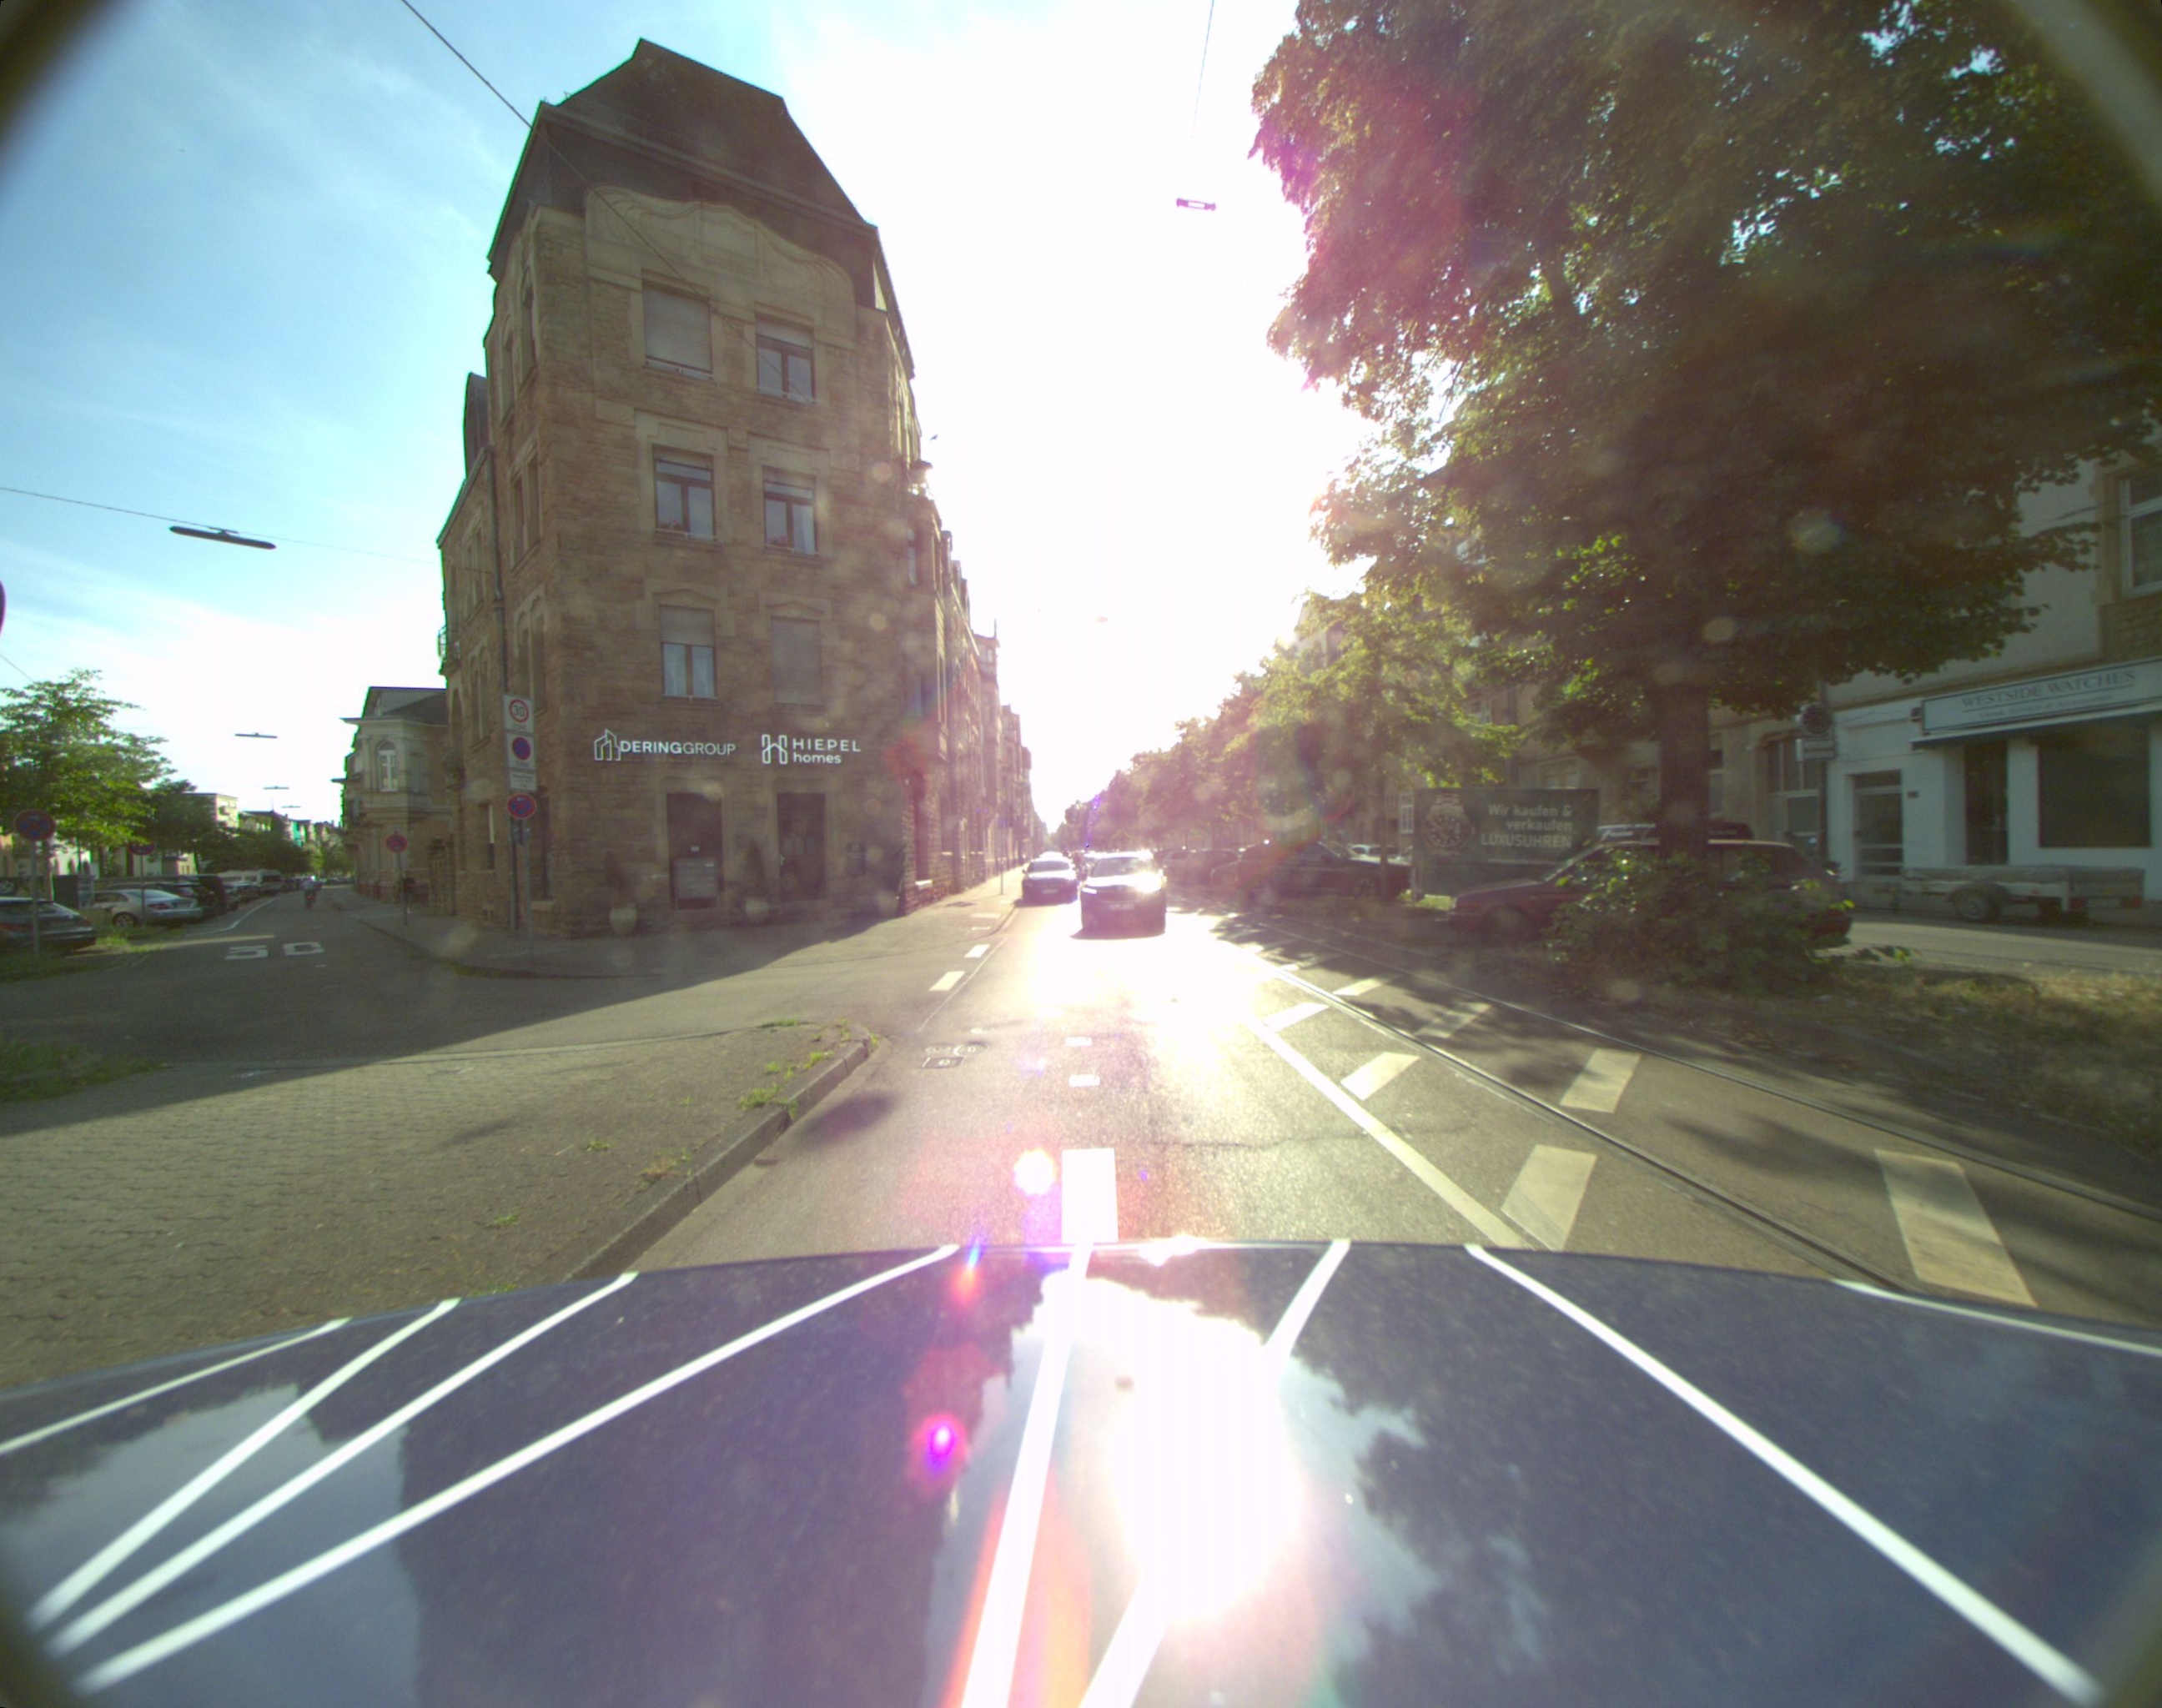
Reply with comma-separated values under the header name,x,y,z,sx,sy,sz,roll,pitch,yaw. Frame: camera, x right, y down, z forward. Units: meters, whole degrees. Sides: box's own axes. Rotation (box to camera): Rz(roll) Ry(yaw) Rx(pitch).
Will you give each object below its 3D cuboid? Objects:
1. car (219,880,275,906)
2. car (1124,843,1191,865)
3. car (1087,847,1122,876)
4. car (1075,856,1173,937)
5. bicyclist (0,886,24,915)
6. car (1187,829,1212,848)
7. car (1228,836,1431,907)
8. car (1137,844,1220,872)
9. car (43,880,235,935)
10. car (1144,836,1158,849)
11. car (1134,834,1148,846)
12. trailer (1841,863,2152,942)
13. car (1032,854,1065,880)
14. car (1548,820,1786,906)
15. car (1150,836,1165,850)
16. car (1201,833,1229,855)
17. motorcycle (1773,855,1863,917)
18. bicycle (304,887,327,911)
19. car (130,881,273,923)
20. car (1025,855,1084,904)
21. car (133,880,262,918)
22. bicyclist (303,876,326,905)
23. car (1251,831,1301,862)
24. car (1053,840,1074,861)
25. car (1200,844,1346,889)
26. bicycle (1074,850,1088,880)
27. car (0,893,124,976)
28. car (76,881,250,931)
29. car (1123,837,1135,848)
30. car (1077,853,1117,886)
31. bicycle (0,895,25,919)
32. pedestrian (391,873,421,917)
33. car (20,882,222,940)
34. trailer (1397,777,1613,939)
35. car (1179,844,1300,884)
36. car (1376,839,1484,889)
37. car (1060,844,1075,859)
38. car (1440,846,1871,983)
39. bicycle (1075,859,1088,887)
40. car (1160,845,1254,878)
name,x,y,z,sx,sy,sz,roll,pitch,yaw
car,-59.769,2.779,54.536,2.003,1.641,3.990,-3,1,-38
car,5.523,0.024,54.851,4.260,1.414,2.176,-2,1,39
car,1.328,0.396,43.930,1.840,1.472,4.000,-3,0,0
car,0.829,0.824,16.611,1.840,1.472,4.000,-2,0,0
bicyclist,-59.785,2.582,42.453,0.894,1.532,0.656,-1,1,45
car,13.224,-1.724,85.098,1.999,2.002,3.999,-3,0,-2
car,6.625,0.456,20.549,4.704,1.681,2.176,-2,1,40
car,5.712,0.259,44.606,4.260,1.414,2.176,-3,1,39
car,-35.455,1.963,28.779,4.005,1.641,1.996,-3,1,-27
car,11.708,-1.889,127.509,1.998,2.002,4.000,-3,0,1
car,11.068,-2.526,139.515,1.999,2.002,3.999,-3,0,-2
trailer,14.553,0.715,12.313,1.444,0.891,2.878,-8,1,-2
car,-2.038,0.780,48.056,1.840,1.472,4.000,-3,0,0
car,14.045,0.171,18.693,2.170,1.740,4.717,-3,0,0
car,11.670,-1.661,116.036,1.998,2.002,4.000,-3,0,1
car,13.388,-0.988,76.053,1.999,2.002,3.999,-3,0,-1
motorcycle,14.162,0.594,14.656,0.636,1.074,1.736,-3,1,23
bicycle,-39.500,2.297,39.237,0.696,1.149,2.473,-4,1,-43
car,-42.532,2.280,36.893,4.005,1.641,1.996,-3,1,-27
car,-0.972,0.821,26.559,1.840,1.494,4.264,-3,0,-3
car,-47.339,2.383,40.842,4.005,1.641,1.996,-3,1,-27
bicyclist,-39.489,1.863,39.164,0.745,1.447,0.653,-4,1,-44
car,13.175,-0.475,51.557,2.170,1.890,4.610,-3,0,0
car,-1.772,-0.355,75.977,1.999,2.002,3.999,-2,1,-2
car,6.691,0.454,26.672,4.598,1.373,1.704,-3,1,33
bicycle,-0.007,0.488,33.849,0.575,1.290,0.688,-3,1,-2
car,-23.155,1.726,15.357,4.453,1.505,1.998,-3,1,-11
car,-37.388,2.080,31.122,4.005,1.641,1.996,-3,1,-27
car,10.152,-2.432,161.392,1.999,2.002,3.999,-3,0,-2
car,0.752,0.724,37.782,1.840,1.472,4.000,-3,0,0
bicycle,-59.830,2.958,42.503,1.565,1.250,0.573,-1,1,45
pedestrian,-26.480,1.585,29.800,0.765,1.665,0.781,-4,1,-43
car,-33.449,1.936,26.615,4.000,1.641,1.998,-3,1,-10
trailer,6.924,0.095,12.571,2.859,2.378,1.726,-3,0,30
car,6.361,0.431,30.637,4.295,1.414,1.963,-3,1,39
car,13.787,0.347,30.351,2.170,1.740,4.610,-3,0,0
car,-1.877,-0.361,106.965,1.999,2.002,3.999,-2,1,-2
car,6.774,0.646,9.432,3.942,1.352,1.676,-2,1,35
bicycle,0.019,0.843,33.785,0.484,1.183,1.339,-3,1,-2
car,6.161,0.382,37.430,4.260,1.414,1.685,-3,1,39
